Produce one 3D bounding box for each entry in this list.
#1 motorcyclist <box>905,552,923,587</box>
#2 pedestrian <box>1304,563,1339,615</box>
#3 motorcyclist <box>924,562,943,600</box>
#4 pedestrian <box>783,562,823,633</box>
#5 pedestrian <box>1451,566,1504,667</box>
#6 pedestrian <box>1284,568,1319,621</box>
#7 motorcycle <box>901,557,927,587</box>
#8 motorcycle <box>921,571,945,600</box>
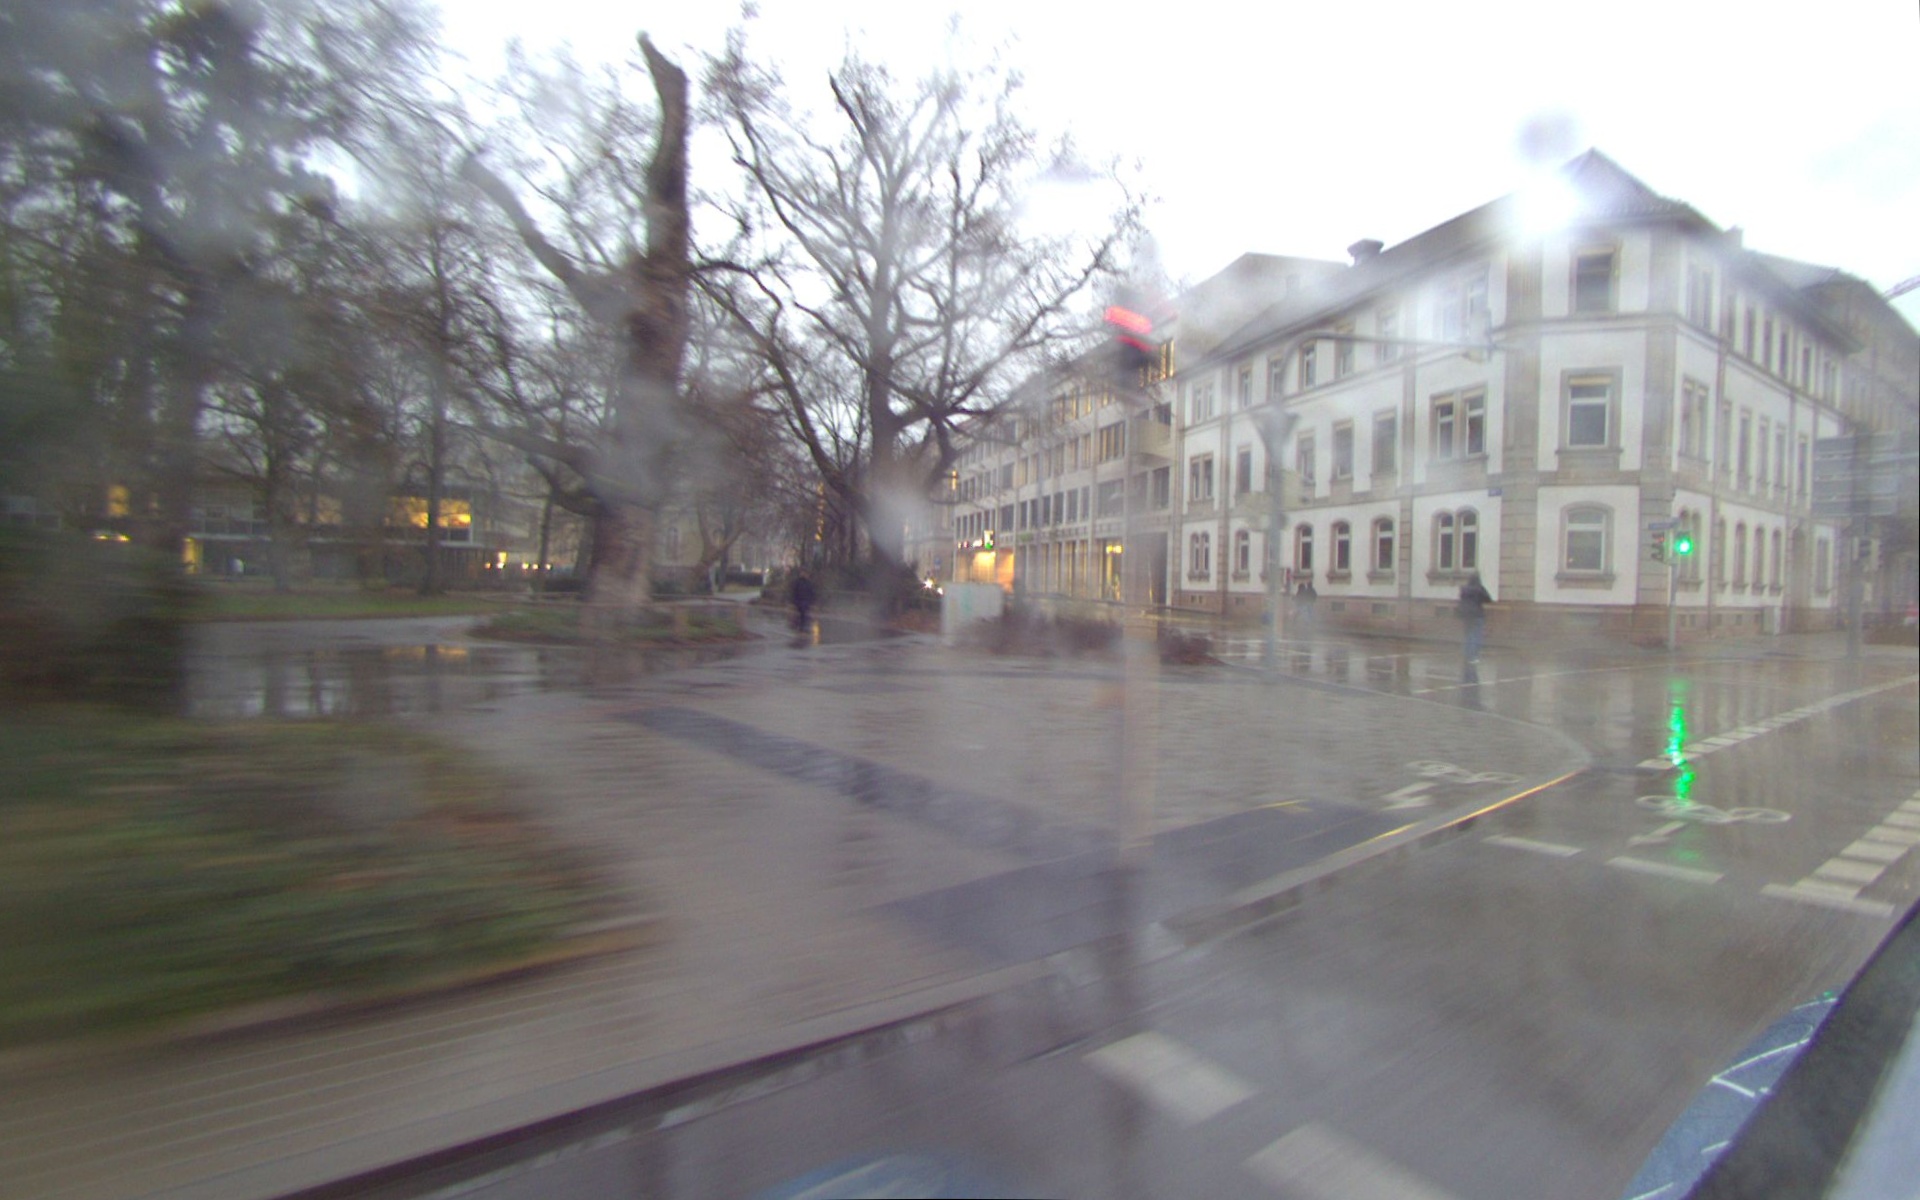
[{"bbox_3d":[-2.957,-1.953,64.855,0.928,2.195,1.198,0,0,-15],"label":"motorcyclist"},{"bbox_3d":[14.038,-0.419,39.298,0.849,2.006,0.980,0,0,-17],"label":"pedestrian"},{"bbox_3d":[-1.485,-1.071,56.781,0.929,2.079,1.031,0,0,-8],"label":"motorcyclist"},{"bbox_3d":[-3.740,-0.061,24.109,0.834,1.661,0.727,0,0,-19],"label":"pedestrian"},{"bbox_3d":[9.990,0.313,19.554,0.662,1.903,0.715,0,0,1],"label":"pedestrian"},{"bbox_3d":[13.175,-0.222,39.074,0.849,2.006,0.980,0,0,-17],"label":"pedestrian"},{"bbox_3d":[-2.952,-1.784,64.843,0.928,1.868,3.533,0,0,-15],"label":"motorcycle"},{"bbox_3d":[-1.532,-0.809,56.825,0.929,1.579,3.530,0,0,-8],"label":"motorcycle"}]
